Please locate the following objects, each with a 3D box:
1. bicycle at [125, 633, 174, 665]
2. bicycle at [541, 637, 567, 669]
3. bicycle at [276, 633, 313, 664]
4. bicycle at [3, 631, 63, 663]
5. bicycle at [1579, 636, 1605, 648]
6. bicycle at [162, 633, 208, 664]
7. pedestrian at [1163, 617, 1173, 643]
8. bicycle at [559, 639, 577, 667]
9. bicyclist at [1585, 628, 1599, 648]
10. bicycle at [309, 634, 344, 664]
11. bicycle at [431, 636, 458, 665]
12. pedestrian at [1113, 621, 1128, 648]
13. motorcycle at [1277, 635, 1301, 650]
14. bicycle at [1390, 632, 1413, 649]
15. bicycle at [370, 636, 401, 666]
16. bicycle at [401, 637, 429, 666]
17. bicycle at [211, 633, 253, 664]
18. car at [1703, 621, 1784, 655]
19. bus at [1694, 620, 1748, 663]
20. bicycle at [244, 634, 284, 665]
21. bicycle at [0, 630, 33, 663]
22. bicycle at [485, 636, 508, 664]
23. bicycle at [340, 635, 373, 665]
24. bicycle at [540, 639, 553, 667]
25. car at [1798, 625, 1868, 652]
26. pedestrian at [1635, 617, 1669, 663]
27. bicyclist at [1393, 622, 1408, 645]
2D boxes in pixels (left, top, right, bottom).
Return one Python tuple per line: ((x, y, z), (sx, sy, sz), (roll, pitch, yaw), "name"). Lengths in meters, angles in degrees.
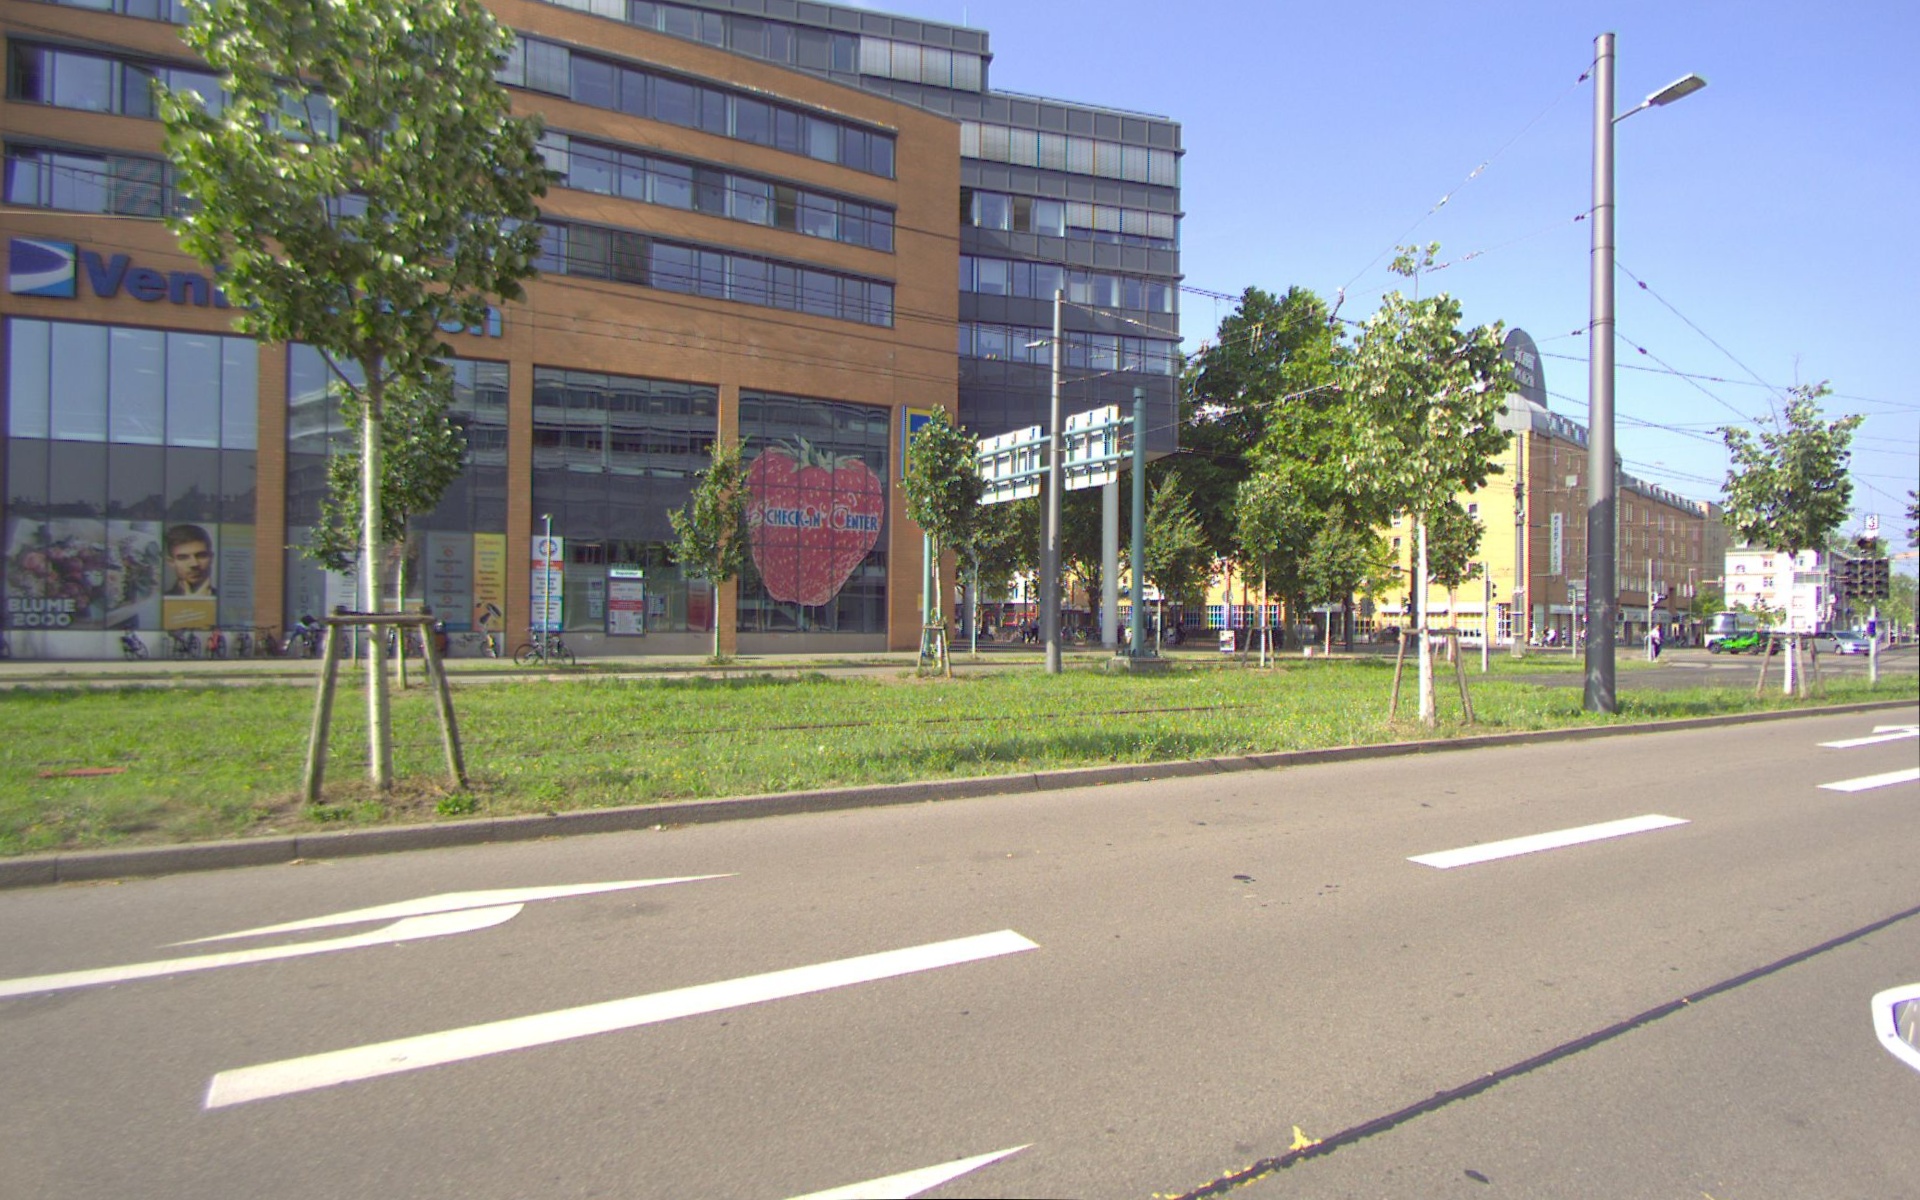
((-25.279, 1.514, 31.355), (0.565, 0.934, 2.045), (1, -1, -21), "bicycle")
((-12.677, 1.648, 31.309), (0.700, 0.919, 1.671), (2, -1, -23), "bicycle")
((-21.783, 1.573, 32.902), (0.565, 0.934, 2.045), (1, -1, -21), "bicycle")
((-27.999, 1.406, 30.370), (0.565, 0.934, 2.045), (1, -1, -21), "bicycle")
((57.295, 3.825, 91.074), (1.938, 0.982, 0.418), (0, -3, 43), "bicycle")
((-24.431, 1.514, 31.700), (0.565, 0.934, 2.045), (1, -1, -21), "bicycle")
((16.626, 2.417, 80.295), (0.535, 2.040, 0.485), (3, -2, -40), "pedestrian")
((-14.131, 1.907, 36.257), (0.565, 0.934, 2.045), (1, -1, -21), "bicycle")
((57.288, 3.458, 91.100), (0.976, 1.718, 0.667), (0, -2, 43), "bicyclist")
((-20.945, 1.615, 33.242), (0.565, 0.934, 2.045), (1, -1, -21), "bicycle")
((-17.818, 1.749, 34.739), (0.565, 0.934, 2.045), (1, -1, -21), "bicycle")
((9.498, 2.045, 59.401), (0.652, 1.563, 0.617), (1, -1, -14), "pedestrian")
((23.275, 2.978, 71.076), (0.282, 1.008, 1.676), (3, -2, -39), "motorcycle")
((34.257, 3.141, 77.979), (2.265, 1.222, 0.545), (3, -2, -35), "bicycle")
((-19.408, 1.711, 33.964), (0.565, 0.934, 2.045), (1, -1, -21), "bicycle")
((-18.621, 1.741, 34.358), (0.565, 0.934, 2.045), (1, -1, -21), "bicycle")
((-23.325, 1.540, 32.210), (0.565, 0.934, 2.045), (1, -1, -21), "bicycle")
((50.806, 2.470, 65.213), (1.962, 2.040, 3.998), (2, -2, -5), "car")
((75.036, 4.145, 98.950), (2.718, 3.972, 12.143), (0, -3, 44), "bus")
((-22.550, 1.580, 32.587), (0.565, 0.934, 2.045), (1, -1, -21), "bicycle")
((-28.663, 1.373, 30.074), (0.565, 0.934, 2.045), (1, -1, -21), "bicycle")
((-16.234, 1.744, 35.209), (0.565, 0.934, 2.045), (1, -1, -21), "bicycle")
((-20.188, 1.668, 33.632), (0.565, 0.934, 2.045), (1, -1, -21), "bicycle")
((-14.789, 1.874, 35.949), (0.375, 0.934, 2.045), (1, -1, -21), "bicycle")
((58.400, 2.579, 67.319), (1.656, 1.656, 4.394), (-1, -1, 13), "car")
((31.426, 1.826, 45.605), (0.771, 2.040, 1.144), (3, -2, -43), "pedestrian")
((34.146, 2.578, 77.887), (0.958, 1.769, 0.660), (3, -2, -37), "bicyclist")
